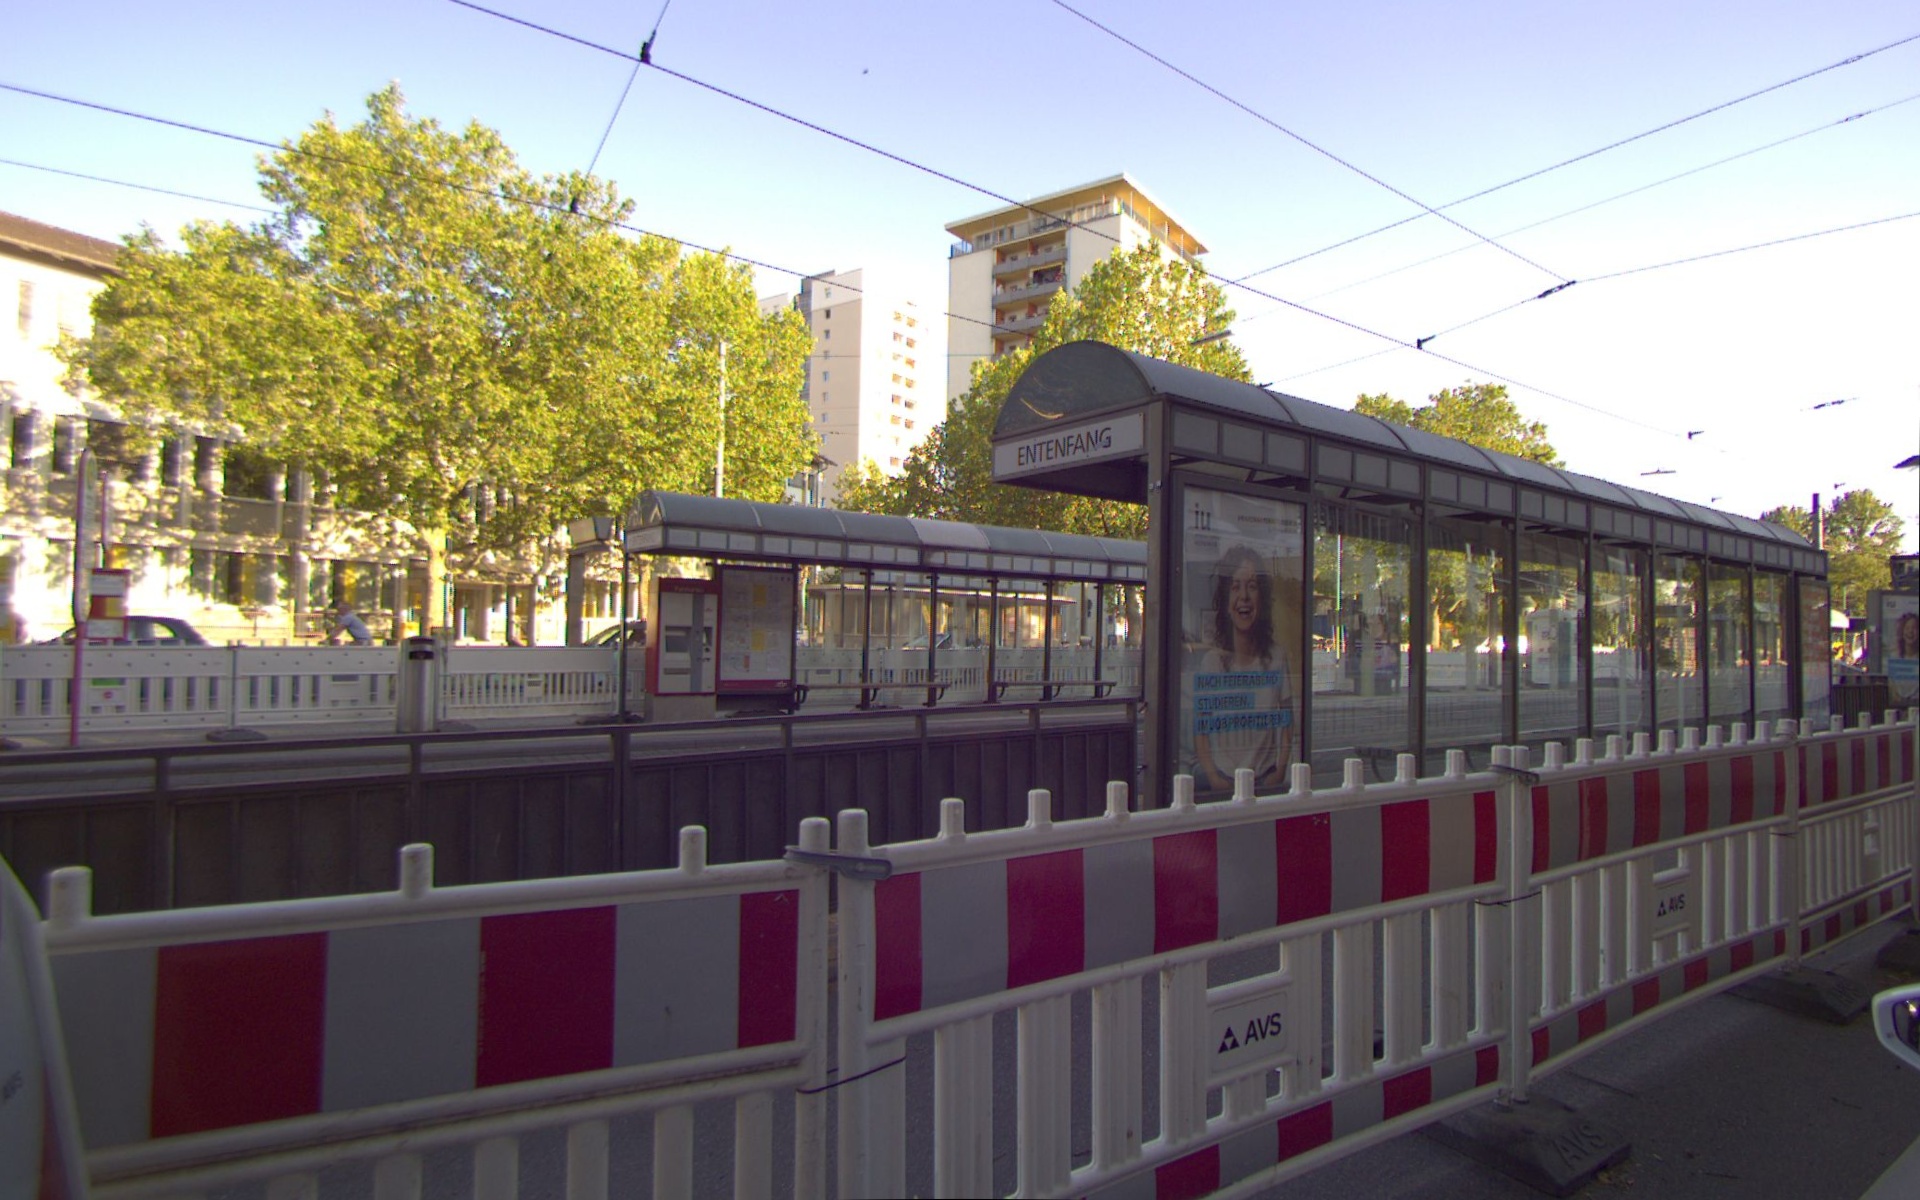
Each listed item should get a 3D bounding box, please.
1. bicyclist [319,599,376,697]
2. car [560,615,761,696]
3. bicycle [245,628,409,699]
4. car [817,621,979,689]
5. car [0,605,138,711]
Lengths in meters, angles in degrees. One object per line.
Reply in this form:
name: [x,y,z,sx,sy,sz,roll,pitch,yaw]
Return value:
bicyclist: [-11.268,0.875,18.474,0.826,1.750,0.728,2,-2,-35]
car: [-6.752,1.237,22.755,3.959,1.683,1.902,2,-2,-34]
bicycle: [-11.484,1.141,18.288,2.456,1.223,0.685,2,-2,-36]
car: [-1.635,1.462,27.057,3.961,1.683,1.901,2,-2,-36]
car: [-16.206,0.924,16.455,3.958,1.683,1.982,2,-2,-33]
